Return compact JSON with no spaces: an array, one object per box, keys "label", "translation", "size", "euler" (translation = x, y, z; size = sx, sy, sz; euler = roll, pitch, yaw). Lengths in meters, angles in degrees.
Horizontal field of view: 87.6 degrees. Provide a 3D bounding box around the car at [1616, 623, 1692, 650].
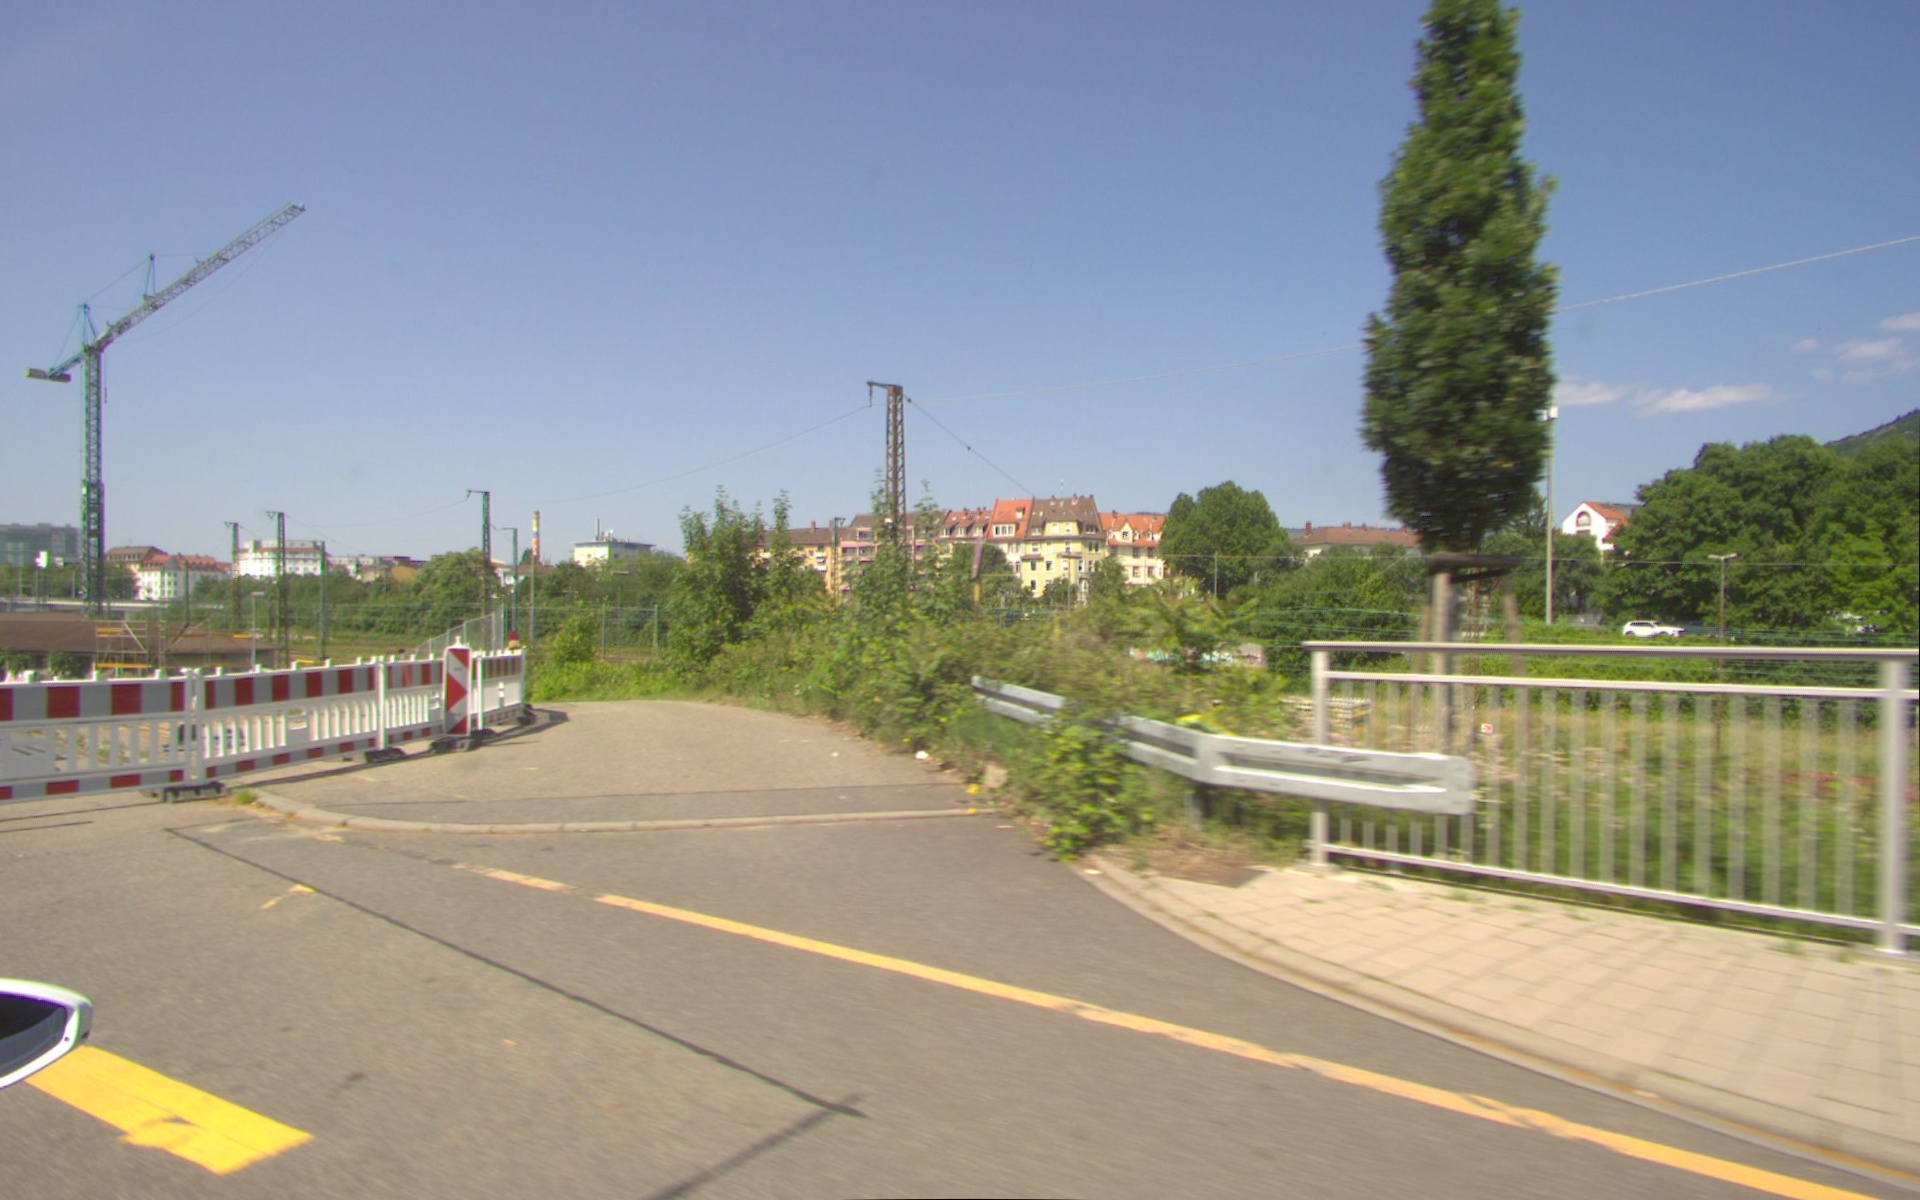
[{"label":"car","translation":[58.175,3.015,84.030],"size":[1.980,2.140,4.942],"euler":[0,0,-44]}]
